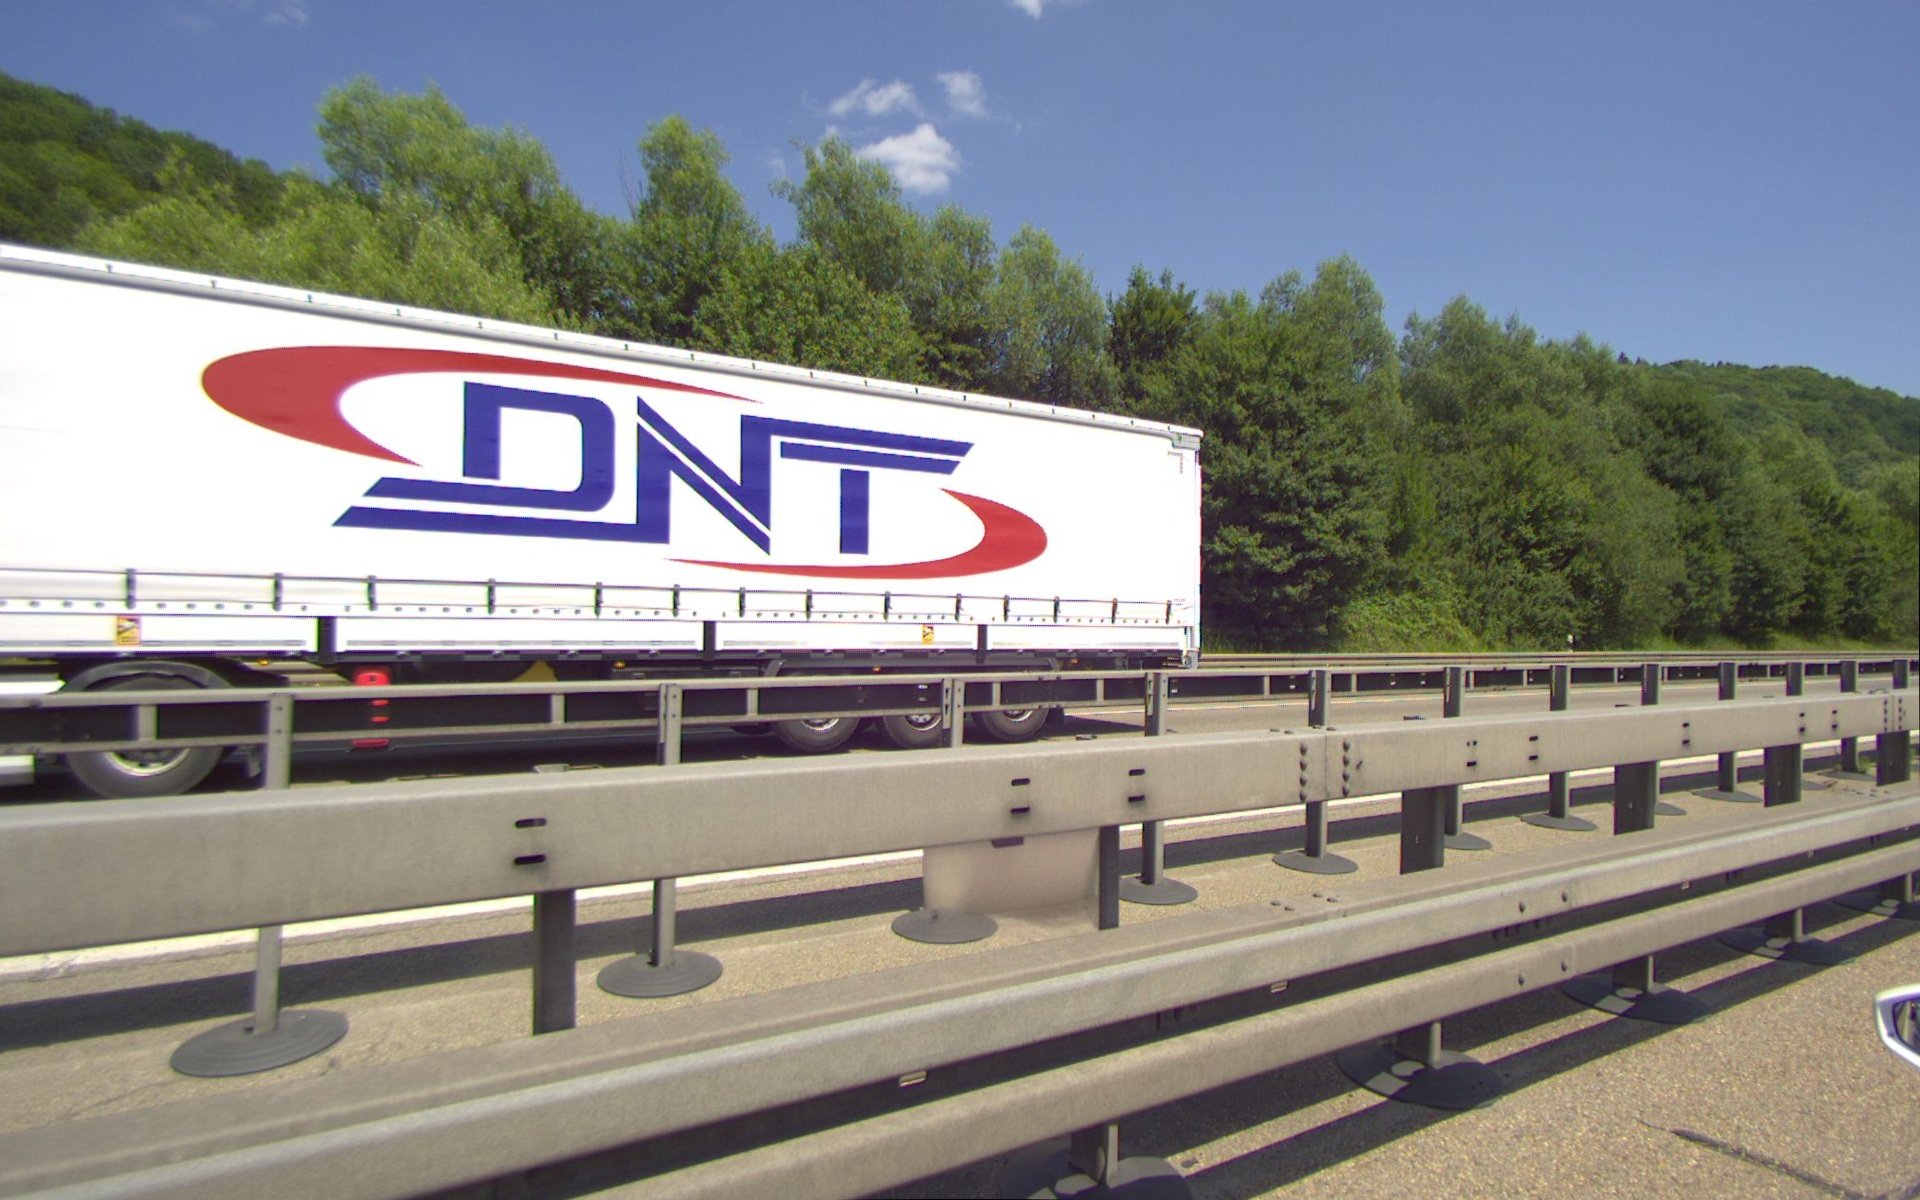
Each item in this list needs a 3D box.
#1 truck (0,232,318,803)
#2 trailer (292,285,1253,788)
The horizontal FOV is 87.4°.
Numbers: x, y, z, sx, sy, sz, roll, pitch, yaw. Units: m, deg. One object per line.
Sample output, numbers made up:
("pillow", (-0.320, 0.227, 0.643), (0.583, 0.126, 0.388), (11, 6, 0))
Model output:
("truck", (-8.661, -0.587, 7.982), (5.780, 4.155, 2.896), (1, -2, -30))
("trailer", (-1.397, -0.390, 12.357), (11.134, 4.130, 2.842), (1, -1, -31))
